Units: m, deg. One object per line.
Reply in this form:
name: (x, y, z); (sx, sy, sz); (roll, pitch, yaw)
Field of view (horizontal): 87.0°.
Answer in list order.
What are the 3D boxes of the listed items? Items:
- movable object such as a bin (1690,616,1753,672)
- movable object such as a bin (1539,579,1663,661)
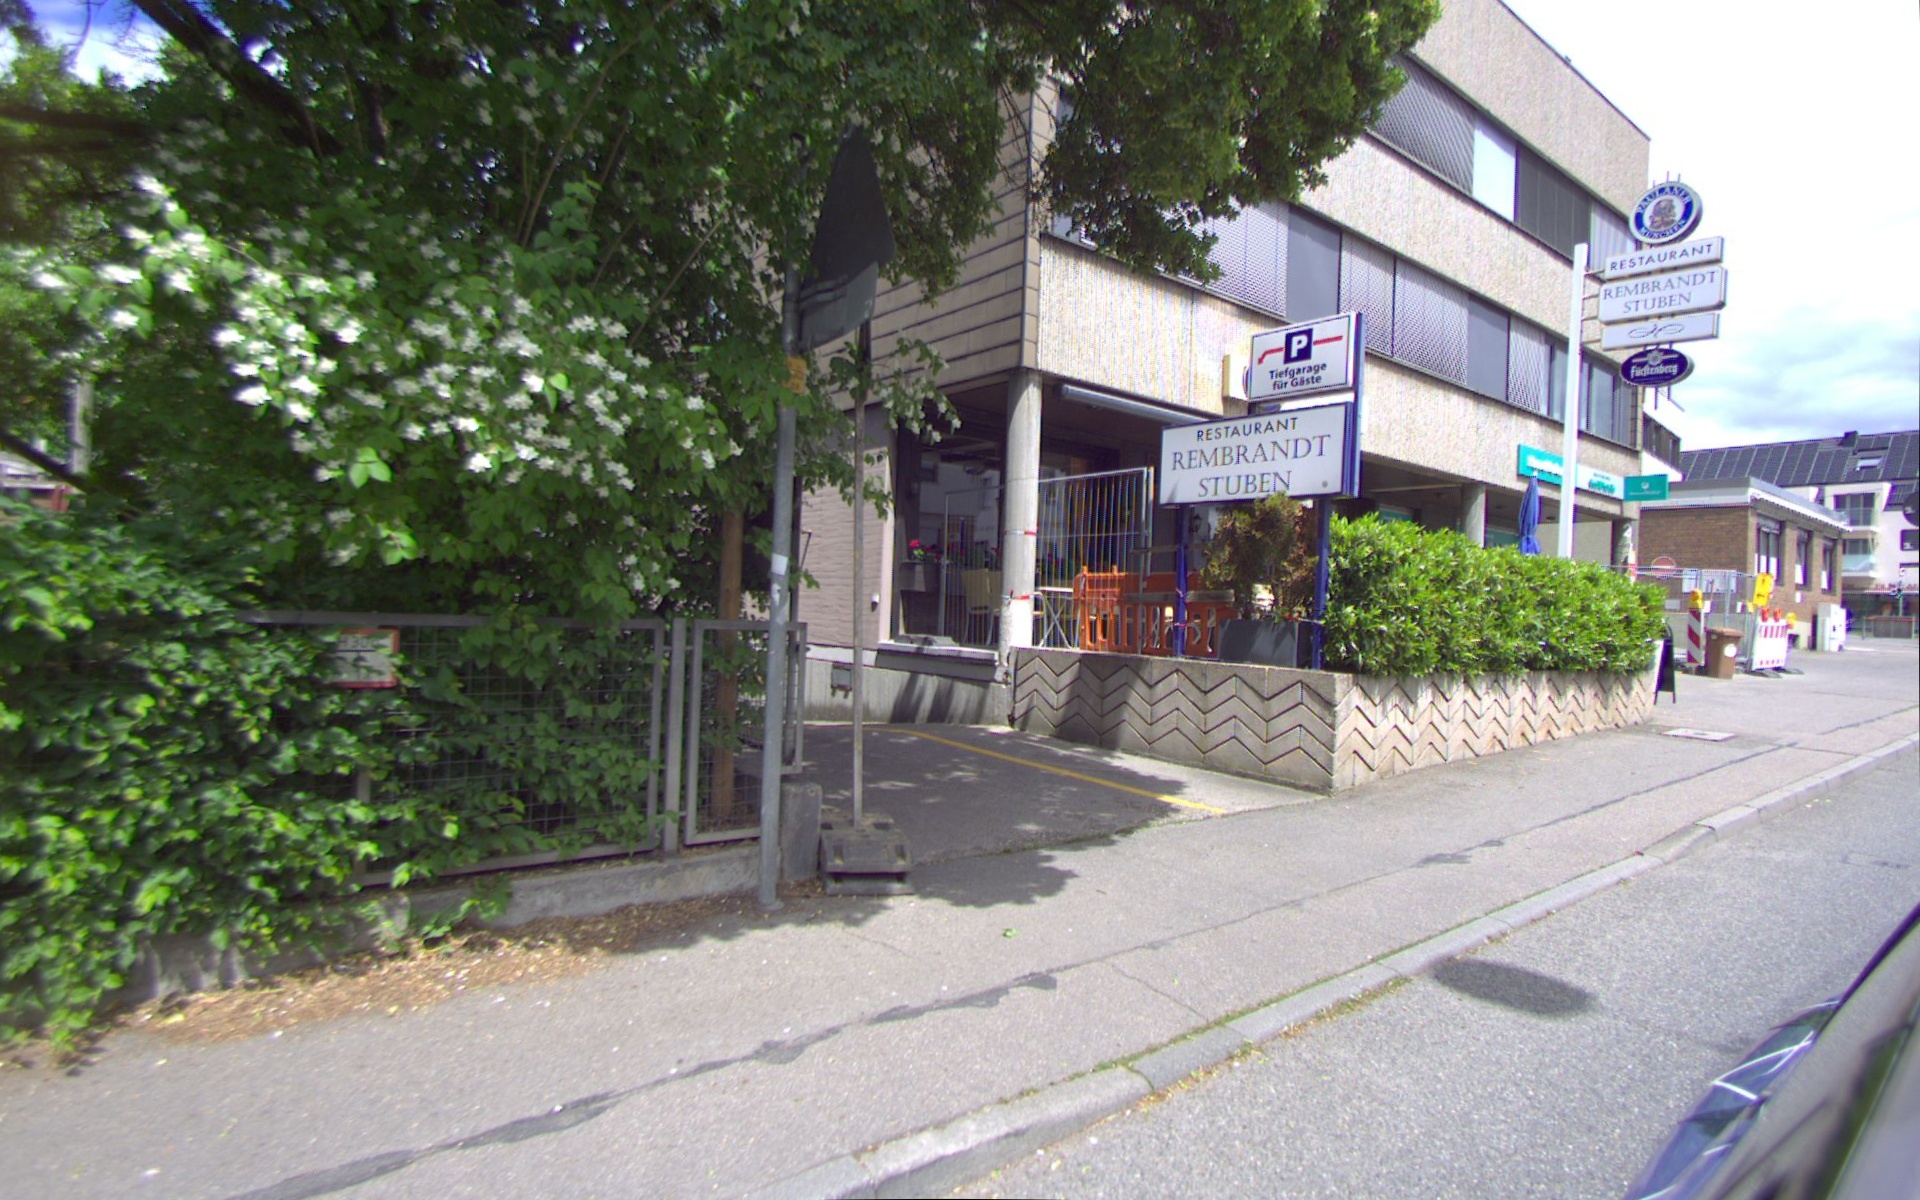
movable object such as a bin: (14.217, 0.810, 18.904); (0.462, 0.925, 0.789); (1, 5, -39)
movable object such as a bin: (14.041, 0.427, 22.200); (1.355, 1.705, 1.931); (0, -1, -38)
